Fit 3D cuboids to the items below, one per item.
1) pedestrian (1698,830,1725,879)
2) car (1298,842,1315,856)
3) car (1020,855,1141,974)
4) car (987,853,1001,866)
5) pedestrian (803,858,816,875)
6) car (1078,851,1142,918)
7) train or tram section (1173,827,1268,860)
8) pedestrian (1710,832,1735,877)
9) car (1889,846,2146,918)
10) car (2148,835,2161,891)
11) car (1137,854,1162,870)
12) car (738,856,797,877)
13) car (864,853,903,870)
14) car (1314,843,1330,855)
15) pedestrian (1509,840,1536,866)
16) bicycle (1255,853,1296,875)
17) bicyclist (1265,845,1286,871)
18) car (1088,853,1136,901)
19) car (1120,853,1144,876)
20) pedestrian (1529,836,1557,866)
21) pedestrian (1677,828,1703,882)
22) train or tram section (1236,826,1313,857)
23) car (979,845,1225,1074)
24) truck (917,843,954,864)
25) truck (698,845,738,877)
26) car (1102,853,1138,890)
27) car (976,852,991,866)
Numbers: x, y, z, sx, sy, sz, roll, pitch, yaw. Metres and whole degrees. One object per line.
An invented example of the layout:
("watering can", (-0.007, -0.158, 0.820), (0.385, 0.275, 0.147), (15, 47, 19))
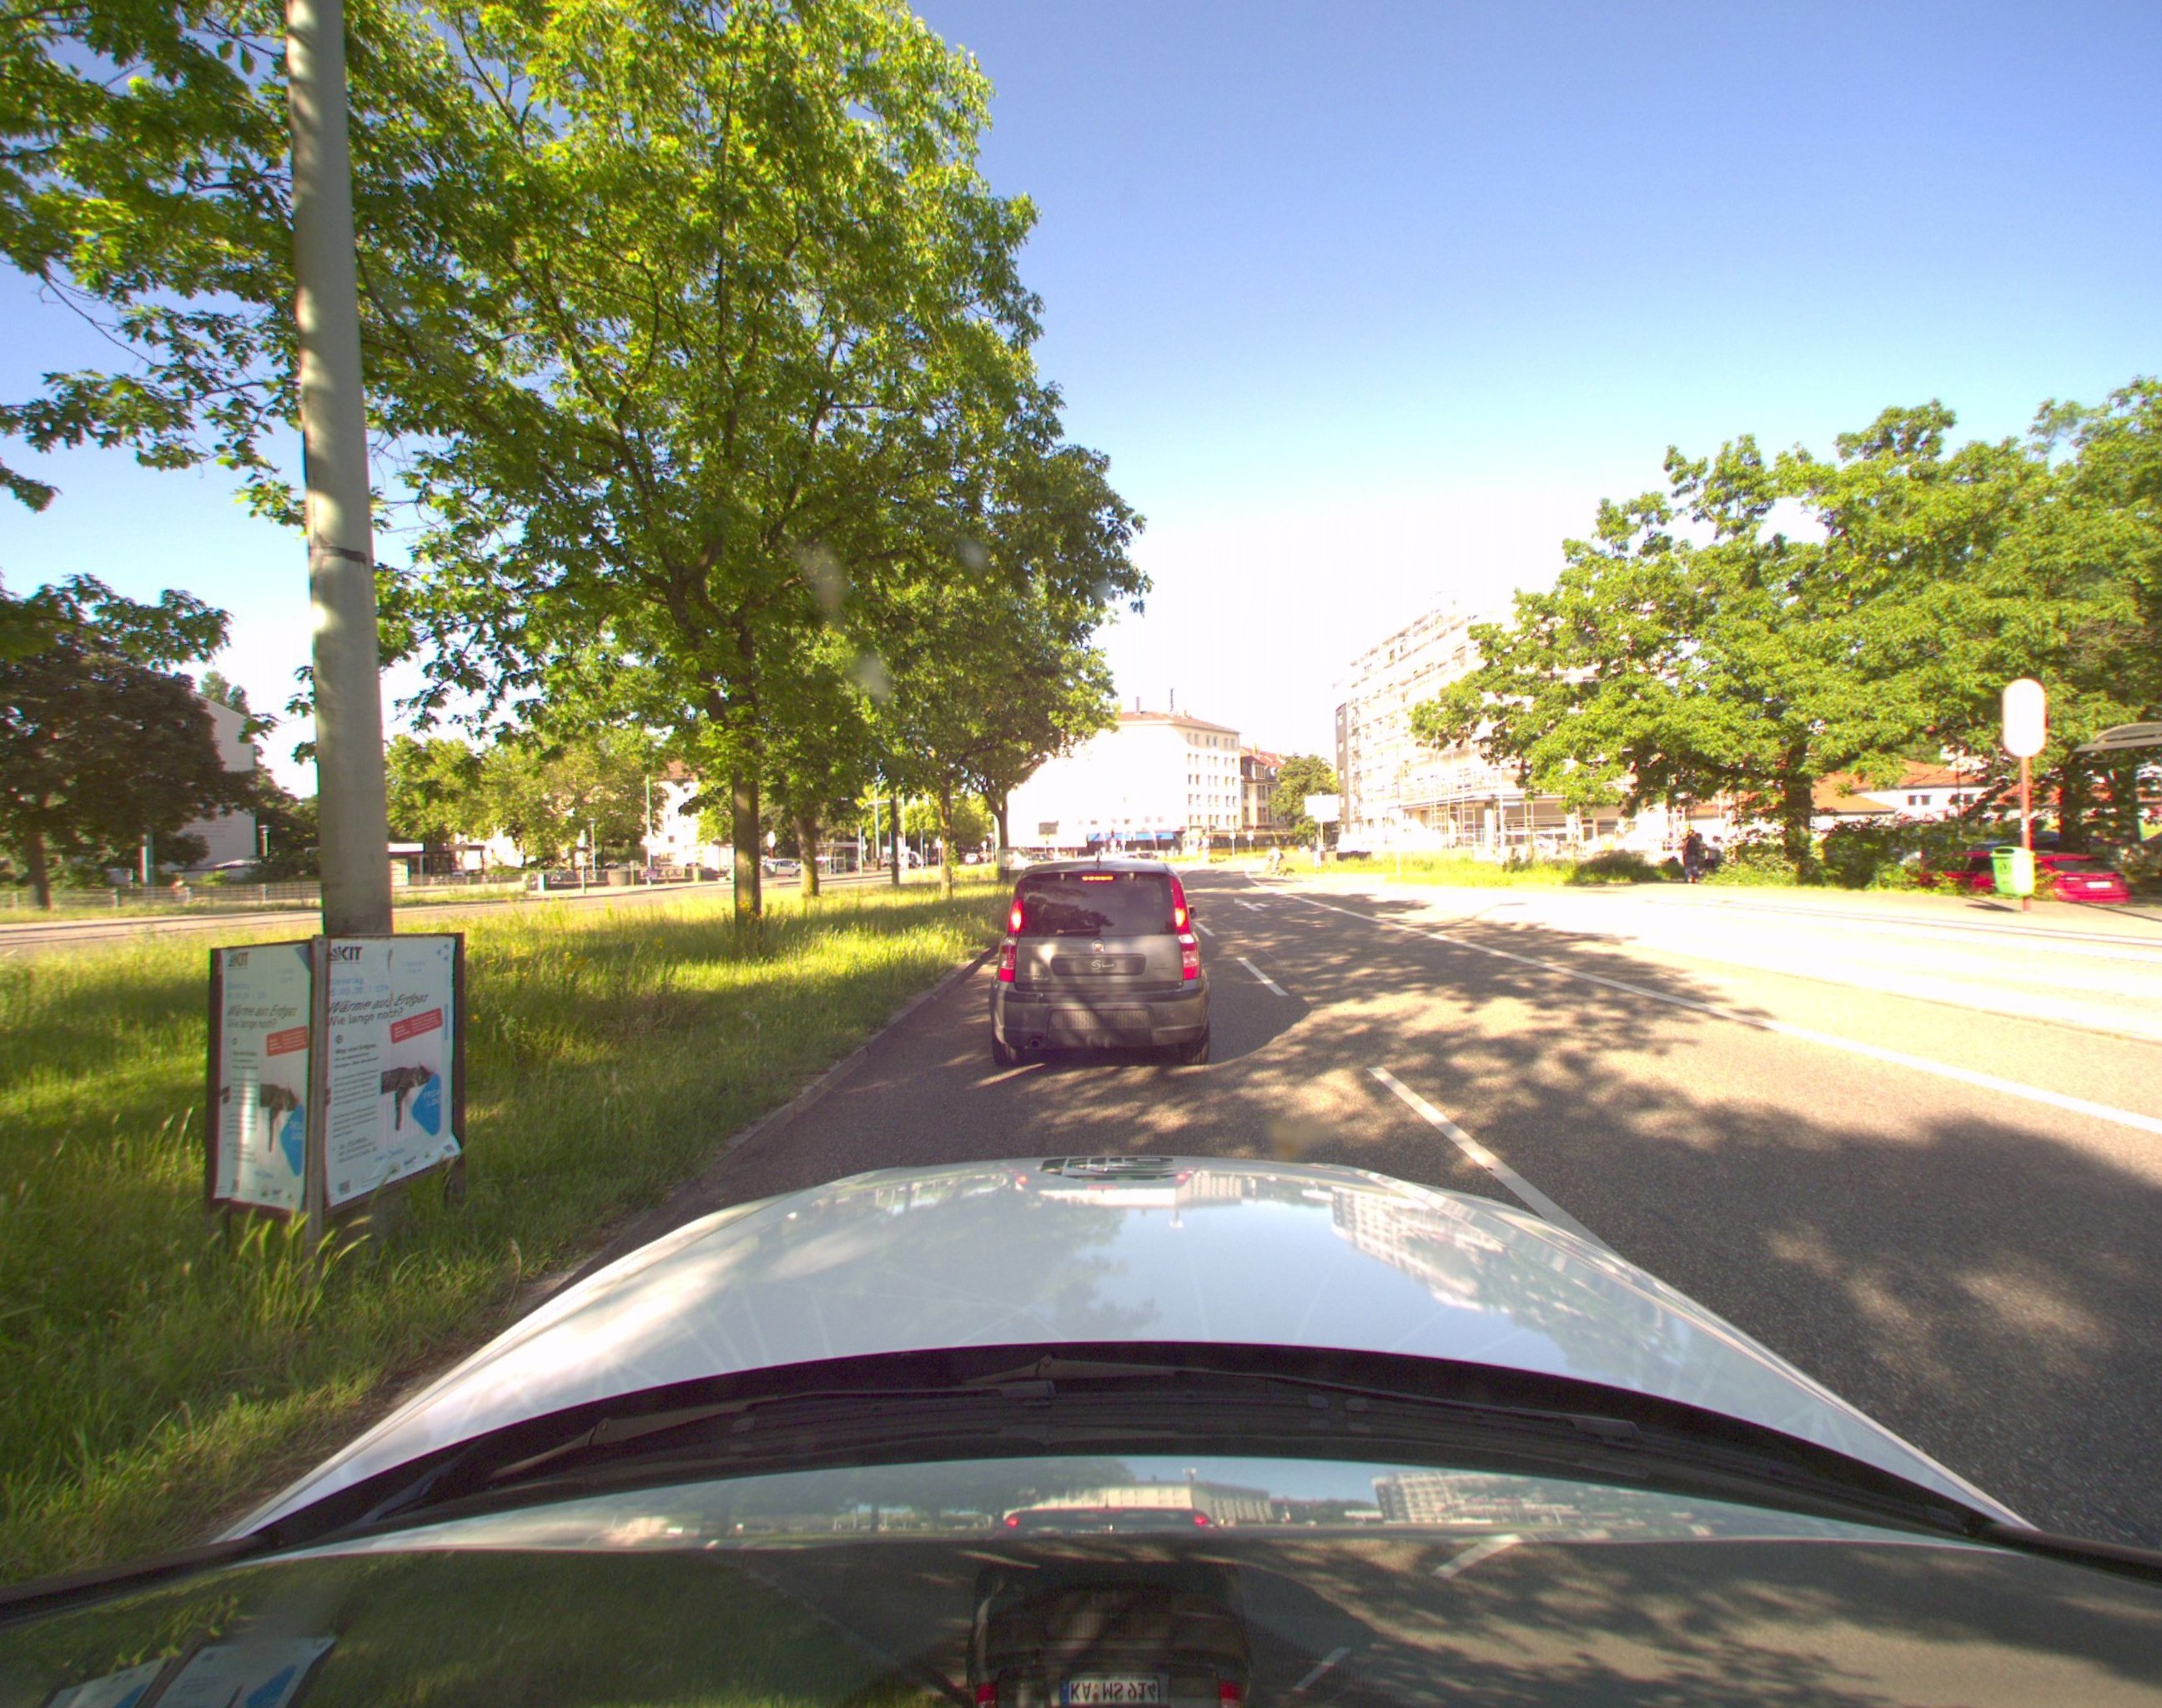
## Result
("pedestrian", (19.172, 0.009, 24.780), (0.516, 1.447, 0.595), (-2, 0, 28))
("car", (24.921, -0.540, 89.998), (1.669, 1.449, 3.588), (-2, 0, 18))
("car", (0.050, 0.750, 11.765), (1.458, 1.401, 3.395), (-2, 0, 2))
("car", (-14.251, 0.894, 133.874), (1.988, 2.013, 3.997), (-2, 0, -2))
("pedestrian", (-26.203, 1.173, 78.475), (0.910, 1.607, 0.802), (-2, 0, 41))
("car", (0.727, 0.700, 20.797), (1.458, 1.508, 3.506), (-2, 0, 2))
("train or tram section", (16.898, -1.359, 96.332), (3.263, 3.512, 19.509), (-2, 0, 34))
("pedestrian", (20.899, 0.014, 26.549), (0.516, 1.447, 0.595), (-2, 0, 28))
("car", (21.988, 0.598, 19.376), (1.747, 1.486, 3.743), (-2, 0, -2))
("car", (29.863, 0.212, 20.179), (1.911, 1.486, 3.725), (-2, 0, -17))
("car", (4.869, 0.575, 57.718), (1.133, 1.064, 2.735), (-2, 0, 19))
("car", (-27.313, 1.072, 71.072), (1.974, 1.684, 4.348), (-2, 0, 40))
("car", (-23.938, 0.896, 98.750), (4.164, 2.013, 1.931), (-2, 0, -1))
("car", (27.633, -0.592, 93.427), (1.514, 1.314, 3.304), (-2, 0, 20))
("pedestrian", (24.758, -0.051, 45.689), (0.893, 1.447, 0.962), (-2, 0, -11))
("bicycle", (10.840, 0.540, 45.461), (0.713, 1.198, 2.495), (0, -1, -31))
("bicyclist", (10.836, 0.199, 45.408), (0.746, 1.438, 0.837), (0, -1, -31))
("car", (1.031, 0.729, 27.379), (1.458, 1.424, 3.383), (-2, 1, 2))
("car", (3.099, 0.621, 49.680), (1.351, 1.281, 2.877), (-2, 0, 2))
("pedestrian", (25.926, -0.186, 45.694), (0.891, 1.653, 0.982), (-2, 0, -17))
("pedestrian", (18.502, 0.014, 24.739), (0.516, 1.612, 0.595), (-2, 0, 28))
("train or tram section", (26.852, -1.766, 111.444), (3.263, 3.770, 20.943), (-2, 0, 33))
("car", (0.205, 0.706, 7.538), (1.622, 1.508, 4.002), (-2, 0, 2))
("truck", (-22.998, -0.140, 128.575), (5.425, 3.168, 2.358), (-2, 0, 30))
("truck", (-33.070, 0.636, 74.208), (2.012, 2.805, 3.951), (-2, 0, -44))
("car", (1.604, 0.694, 33.970), (1.351, 1.449, 3.267), (-2, 0, 2))
("car", (-14.832, 0.732, 124.164), (1.988, 2.013, 3.997), (-2, 0, -2))
